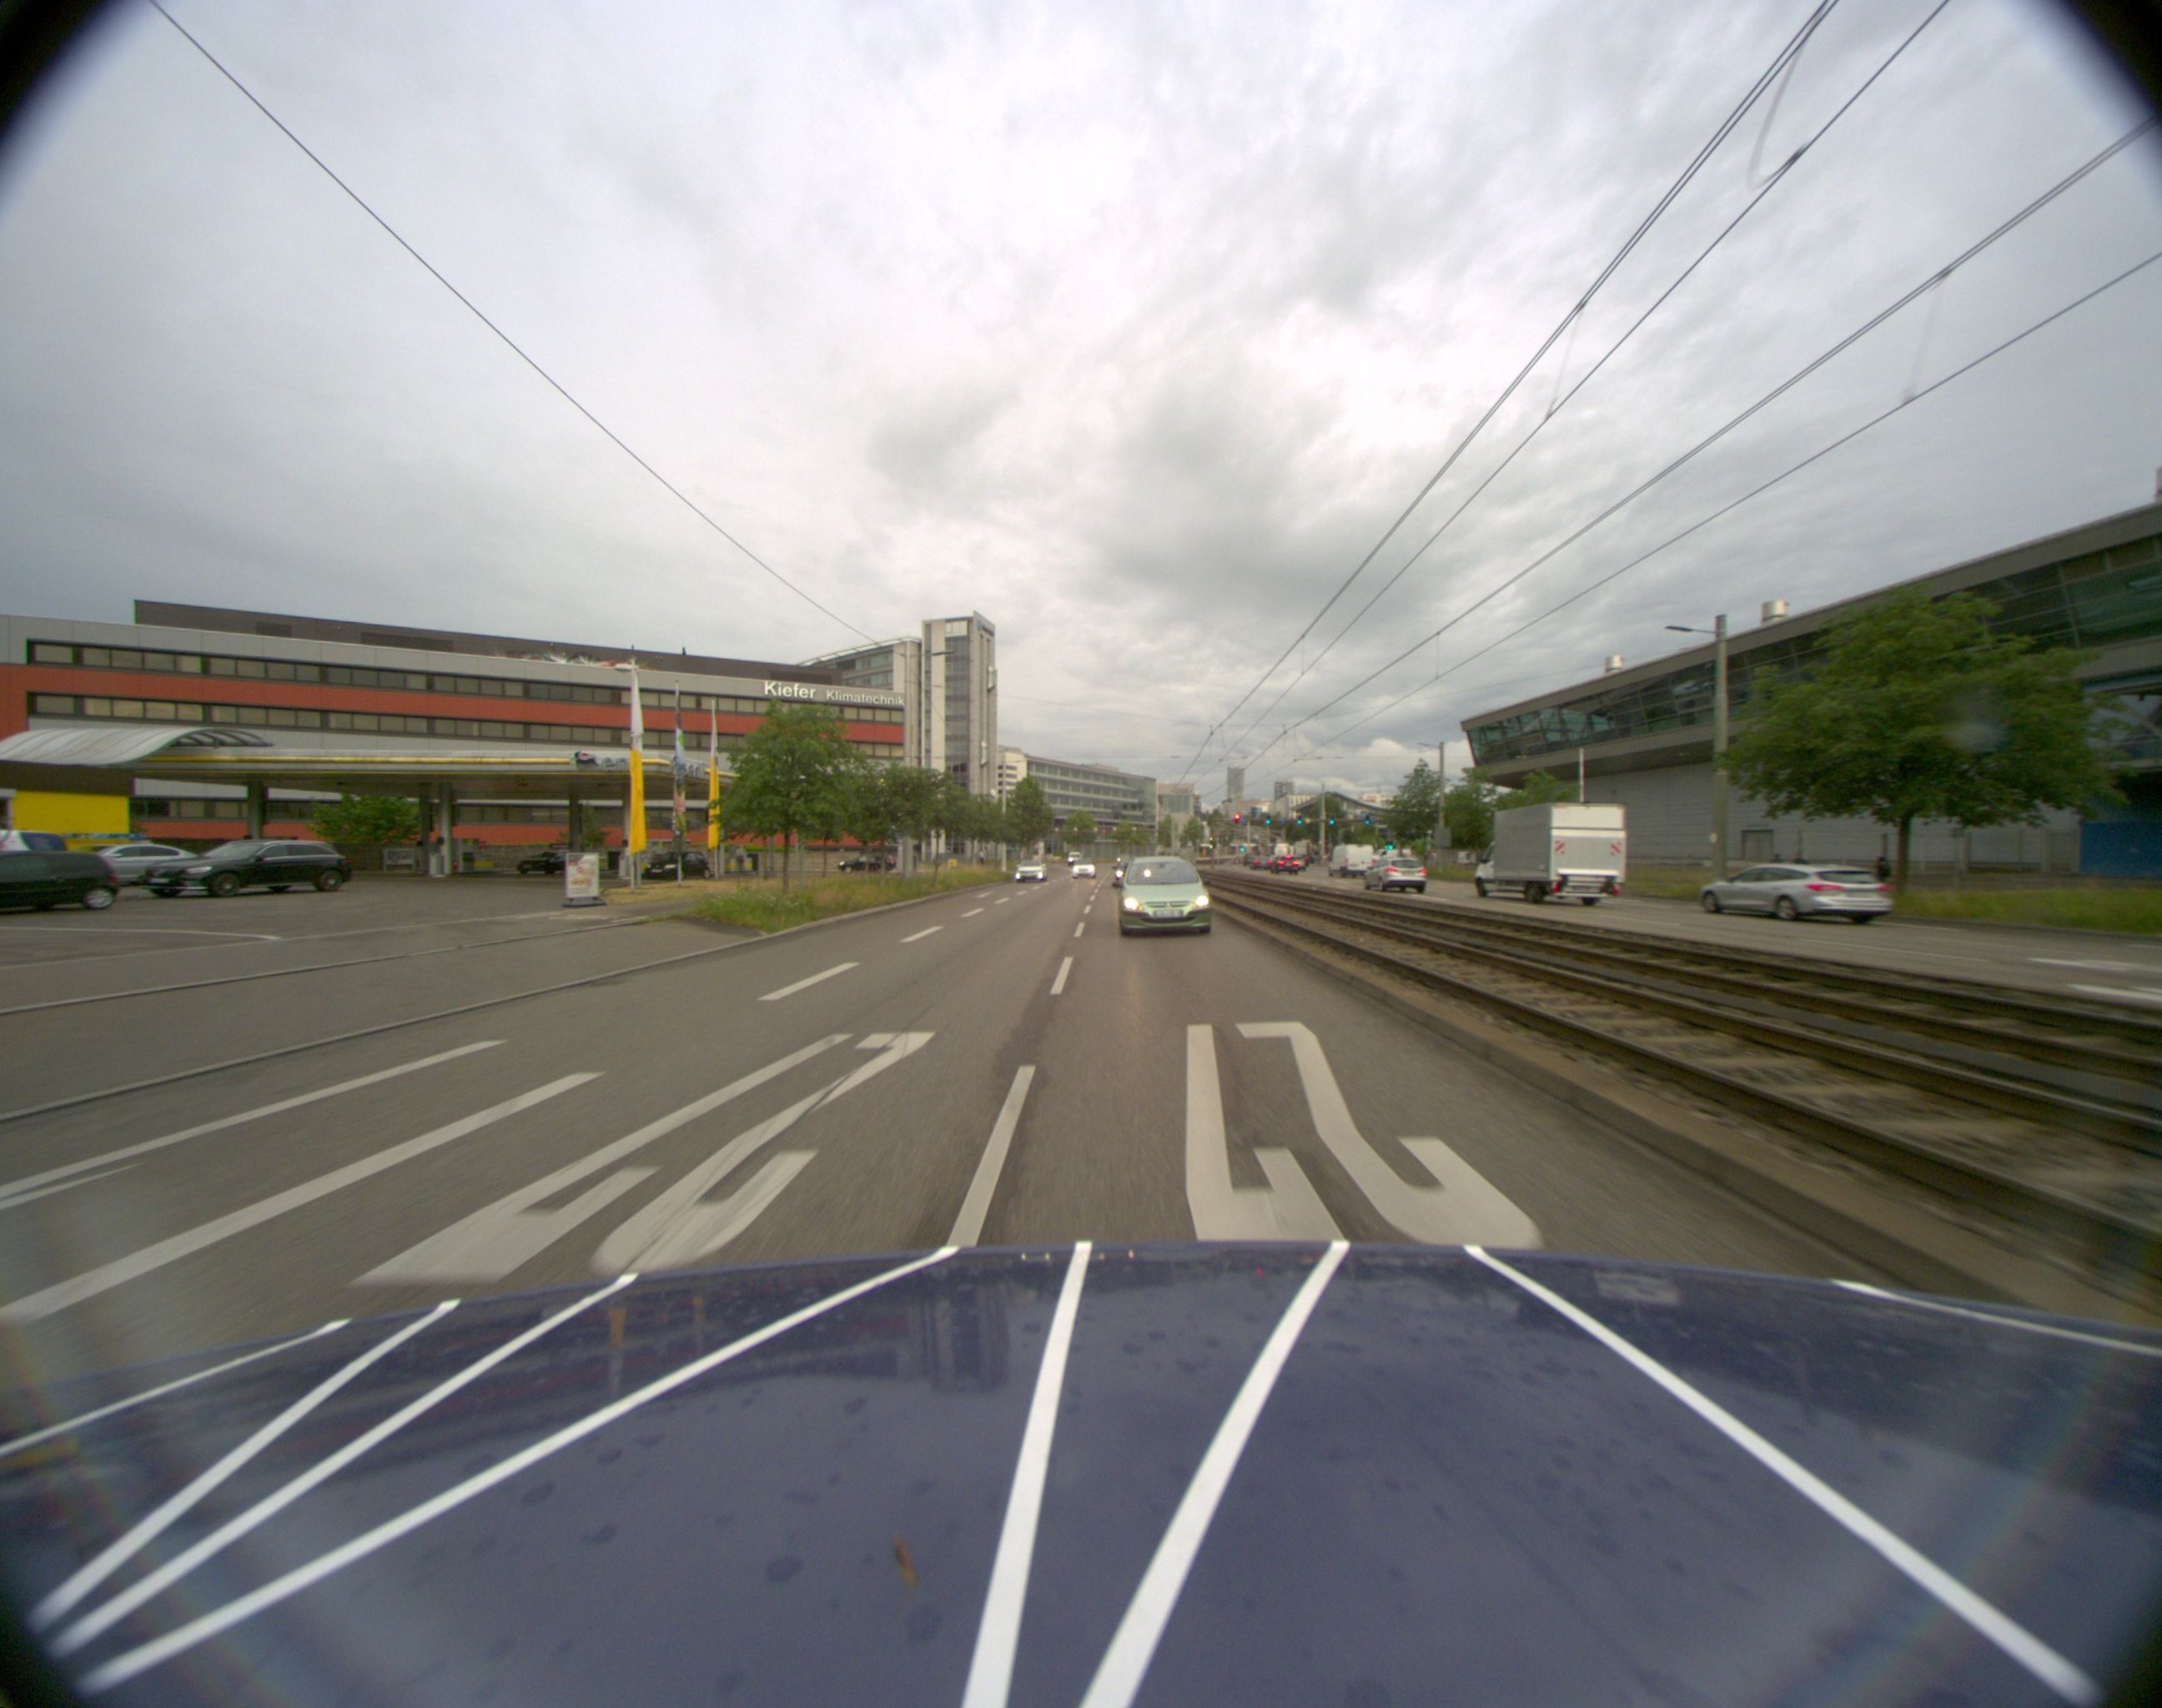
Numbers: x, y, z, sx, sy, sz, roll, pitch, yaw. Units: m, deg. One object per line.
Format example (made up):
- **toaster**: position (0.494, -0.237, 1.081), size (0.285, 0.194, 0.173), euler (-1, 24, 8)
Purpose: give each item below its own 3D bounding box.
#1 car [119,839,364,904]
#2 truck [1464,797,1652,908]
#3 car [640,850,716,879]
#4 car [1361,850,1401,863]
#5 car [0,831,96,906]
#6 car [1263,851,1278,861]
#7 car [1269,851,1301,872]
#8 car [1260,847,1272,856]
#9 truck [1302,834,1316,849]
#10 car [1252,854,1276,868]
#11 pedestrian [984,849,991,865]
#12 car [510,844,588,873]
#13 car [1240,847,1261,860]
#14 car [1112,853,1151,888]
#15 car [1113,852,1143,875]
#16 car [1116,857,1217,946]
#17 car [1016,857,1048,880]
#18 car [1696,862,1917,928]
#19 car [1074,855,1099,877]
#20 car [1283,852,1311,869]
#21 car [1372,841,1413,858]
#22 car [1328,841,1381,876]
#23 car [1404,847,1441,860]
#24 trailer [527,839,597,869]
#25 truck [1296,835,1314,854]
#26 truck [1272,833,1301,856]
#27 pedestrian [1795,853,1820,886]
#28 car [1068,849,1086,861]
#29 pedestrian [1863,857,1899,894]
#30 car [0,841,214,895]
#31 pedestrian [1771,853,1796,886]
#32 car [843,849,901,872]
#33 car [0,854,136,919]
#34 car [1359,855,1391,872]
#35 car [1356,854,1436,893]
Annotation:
- **car**: position (-25.046, 0.452, 22.999), size (1.998, 1.726, 4.718), euler (1, 0, 5)
- **truck**: position (16.496, -0.046, 27.031), size (2.732, 3.338, 7.156), euler (2, 0, 6)
- **car**: position (-20.548, 0.507, 38.897), size (1.783, 1.410, 3.782), euler (1, 0, 2)
- **car**: position (40.802, 0.352, 103.311), size (4.662, 1.824, 1.999), euler (0, 0, -4)
- **car**: position (-27.546, 0.344, 18.093), size (1.998, 1.849, 4.717), euler (1, 0, 1)
- **car**: position (28.667, 0.287, 115.137), size (1.798, 1.437, 3.926), euler (0, 0, 9)
- **car**: position (17.455, 0.626, 65.165), size (1.912, 1.647, 4.362), euler (2, 0, 5)
- **car**: position (33.455, -0.380, 137.379), size (1.819, 1.565, 4.003), euler (0, 0, 10)
- **truck**: position (66.629, -3.679, 221.702), size (3.381, 4.115, 7.641), euler (0, 0, 19)
- **car**: position (19.688, 0.748, 81.851), size (1.951, 1.475, 4.998), euler (0, 0, 8)
- **pedestrian**: position (-11.435, 0.383, 92.906), size (0.683, 1.889, 0.677), euler (-3, 1, -23)
- **car**: position (-33.009, 0.259, 47.297), size (1.902, 1.640, 4.000), euler (4, 0, 0)
- **car**: position (23.146, -0.085, 103.987), size (1.998, 1.721, 4.679), euler (1, 0, 4)
- **car**: position (2.465, 0.760, 36.946), size (1.761, 1.535, 3.715), euler (-2, 0, 4)
- **car**: position (3.389, 0.648, 55.466), size (1.762, 1.535, 3.713), euler (-3, 0, -2)
- **car**: position (1.642, 0.872, 15.823), size (1.762, 1.489, 4.138), euler (-2, 0, 2)
- **car**: position (-3.315, 0.970, 52.335), size (1.878, 1.485, 3.836), euler (-1, 0, 1)
- **car**: position (18.813, 0.983, 20.060), size (1.901, 1.480, 4.425), euler (1, 0, 6)
- **car**: position (0.457, 0.877, 58.010), size (1.818, 1.584, 3.836), euler (-1, 0, 1)
- **car**: position (22.426, 0.686, 78.961), size (1.944, 1.661, 4.510), euler (1, 0, 6)
- **car**: position (44.304, -0.623, 108.111), size (5.063, 2.318, 1.999), euler (0, 0, -7)
- **car**: position (20.929, 0.293, 58.518), size (2.437, 2.486, 6.551), euler (1, 0, 7)
- **car**: position (46.668, -0.063, 103.814), size (4.253, 1.705, 1.912), euler (0, 0, -5)
- **trailer**: position (-37.965, 0.035, 55.718), size (4.005, 2.134, 1.835), euler (0, 0, -25)
- **truck**: position (52.564, -2.184, 178.487), size (3.261, 4.503, 7.104), euler (0, 0, 23)
- **truck**: position (35.225, -1.525, 130.678), size (4.086, 3.734, 10.864), euler (0, 0, 12)
- **pedestrian**: position (32.630, 0.669, 34.136), size (0.452, 1.447, 0.653), euler (-3, 1, -8)
- **car**: position (-0.496, 0.161, 100.222), size (1.889, 1.584, 3.983), euler (0, 0, 7)
- **pedestrian**: position (31.731, 0.831, 30.147), size (0.609, 1.431, 0.745), euler (-3, 1, -2)
- **car**: position (-32.652, 0.413, 25.362), size (1.998, 1.599, 4.716), euler (1, 0, 0)
- **pedestrian**: position (31.828, 0.702, 34.424), size (0.512, 1.447, 0.653), euler (-3, 1, -8)
- **car**: position (-16.895, 0.494, 61.356), size (4.363, 1.637, 1.791), euler (-3, 1, -20)
- **car**: position (-23.587, 0.693, 16.610), size (1.394, 1.330, 3.490), euler (1, 0, 4)
- **car**: position (25.707, 0.841, 66.533), size (1.751, 1.392, 4.003), euler (1, 0, 9)
- **car**: position (13.579, 0.784, 33.039), size (1.809, 1.490, 4.442), euler (3, 0, 4)
